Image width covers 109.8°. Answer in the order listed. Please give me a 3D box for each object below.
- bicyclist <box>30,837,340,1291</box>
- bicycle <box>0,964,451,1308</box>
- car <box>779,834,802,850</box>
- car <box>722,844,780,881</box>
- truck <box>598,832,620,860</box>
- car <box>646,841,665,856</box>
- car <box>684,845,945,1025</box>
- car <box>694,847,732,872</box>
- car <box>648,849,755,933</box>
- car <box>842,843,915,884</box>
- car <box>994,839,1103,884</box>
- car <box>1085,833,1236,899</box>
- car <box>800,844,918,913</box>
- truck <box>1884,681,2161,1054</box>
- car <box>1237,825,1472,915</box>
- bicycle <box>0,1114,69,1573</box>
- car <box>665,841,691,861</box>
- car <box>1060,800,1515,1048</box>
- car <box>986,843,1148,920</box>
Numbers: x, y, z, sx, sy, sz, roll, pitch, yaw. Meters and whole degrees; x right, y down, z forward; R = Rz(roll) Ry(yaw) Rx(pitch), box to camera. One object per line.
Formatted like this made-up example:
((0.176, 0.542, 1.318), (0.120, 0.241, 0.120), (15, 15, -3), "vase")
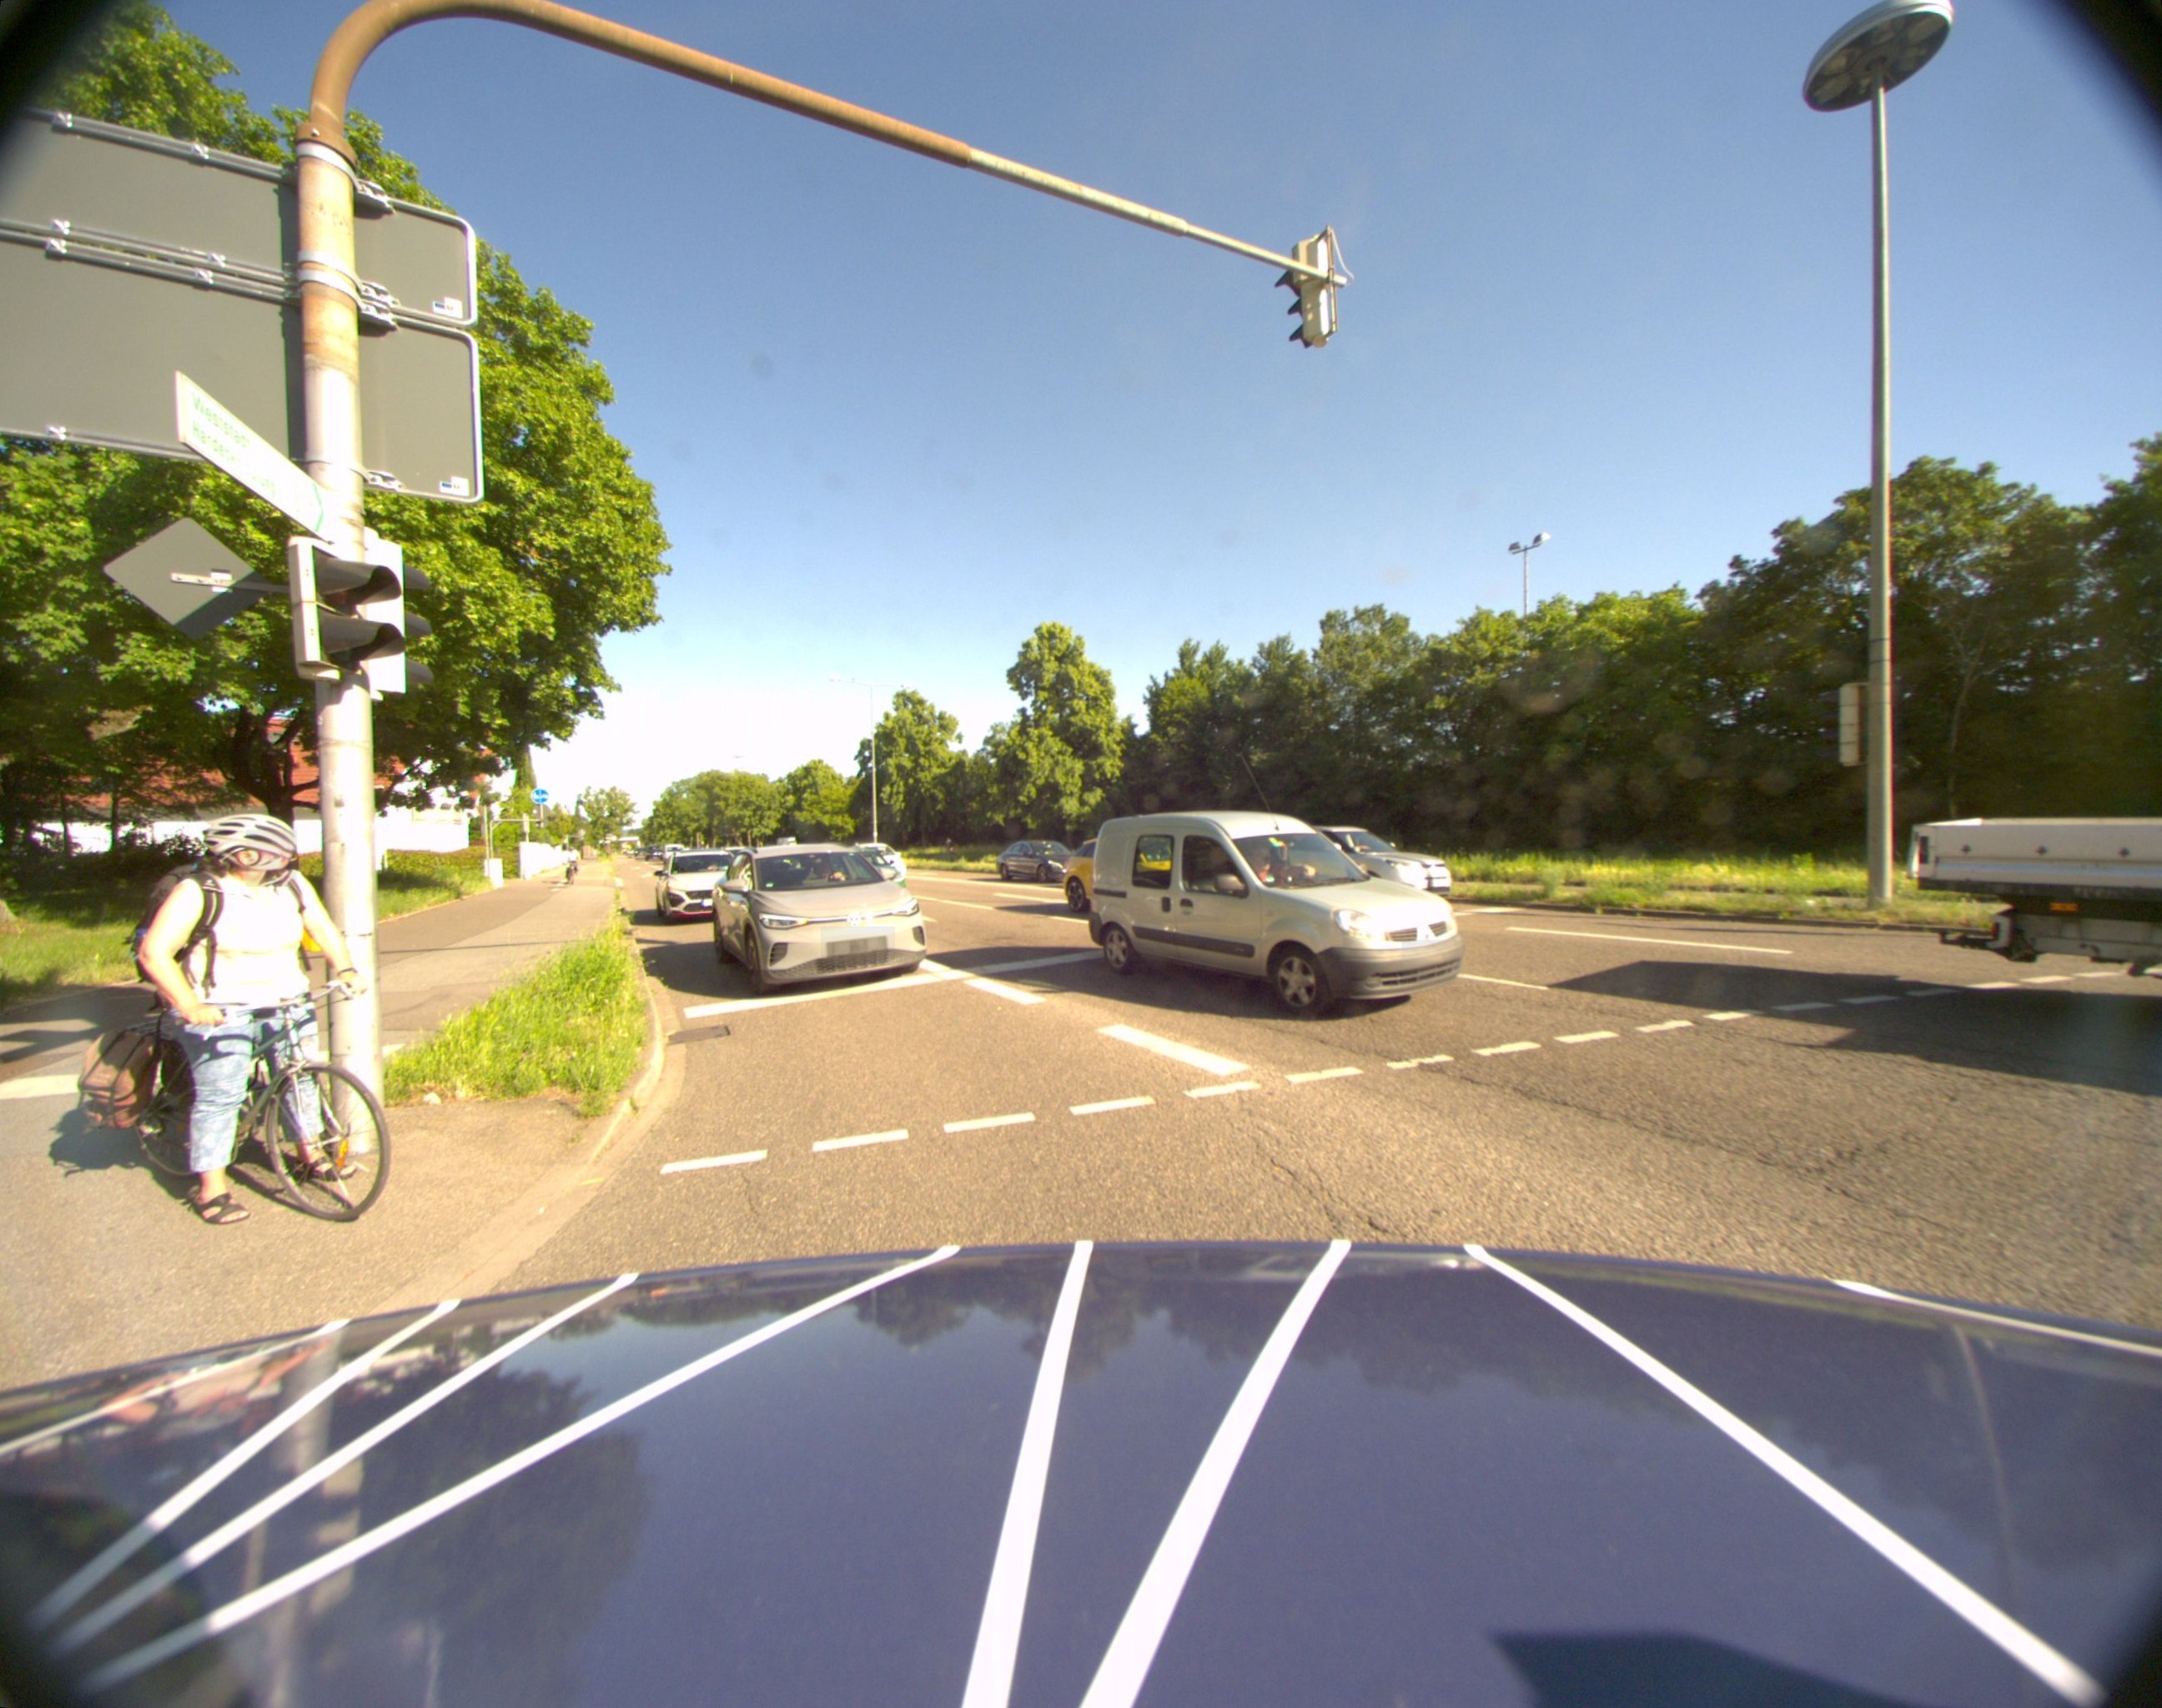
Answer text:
((-3.627, 0.789, 3.122), (0.585, 1.688, 0.527), (2, 4, 8), "bicyclist")
((-3.701, 1.090, 3.151), (1.867, 1.071, 0.531), (2, 4, 8), "bicycle")
((-39.924, -1.703, 104.337), (1.921, 2.073, 4.528), (-5, 3, -31), "car")
((-15.560, 0.350, 35.700), (1.923, 1.478, 4.353), (-5, 3, -30), "car")
((-56.099, -0.971, 90.315), (2.003, 3.060, 5.792), (-5, 3, -32), "truck")
((-54.280, -0.681, 96.974), (1.844, 1.788, 3.901), (-5, 3, -32), "car")
((-3.608, 0.761, 9.703), (1.997, 1.631, 4.353), (-5, 3, -34), "car")
((-24.032, 0.301, 49.552), (1.695, 1.432, 3.901), (-5, 3, -32), "car")
((-8.791, 0.730, 17.426), (1.695, 1.564, 4.110), (-5, 3, -32), "car")
((-8.216, 0.320, 30.561), (1.695, 1.432, 3.901), (-5, 3, -32), "car")
((-1.206, 0.200, 26.208), (1.839, 1.397, 4.344), (-2, 2, -32), "car")
((2.050, 0.250, 20.746), (1.882, 1.566, 4.232), (-2, 2, -32), "car")
((-5.953, 0.532, 20.036), (1.923, 1.478, 4.353), (-5, 3, -30), "car")
((8.756, 0.079, 3.415), (2.195, 2.297, 6.756), (-2, 2, -32), "truck")
((5.282, 0.234, 15.230), (1.840, 1.529, 4.184), (-2, 2, -32), "car")
((-3.470, 1.156, 1.528), (1.870, 1.071, 0.530), (2, 4, -8), "bicycle")
((-38.292, -0.323, 72.143), (1.802, 1.788, 3.901), (-5, 3, -32), "car")
((1.711, 0.441, 7.789), (1.923, 1.719, 4.353), (-5, 3, -30), "car")
((-0.446, 0.493, 16.839), (1.695, 1.432, 4.110), (-3, 2, -32), "car")
